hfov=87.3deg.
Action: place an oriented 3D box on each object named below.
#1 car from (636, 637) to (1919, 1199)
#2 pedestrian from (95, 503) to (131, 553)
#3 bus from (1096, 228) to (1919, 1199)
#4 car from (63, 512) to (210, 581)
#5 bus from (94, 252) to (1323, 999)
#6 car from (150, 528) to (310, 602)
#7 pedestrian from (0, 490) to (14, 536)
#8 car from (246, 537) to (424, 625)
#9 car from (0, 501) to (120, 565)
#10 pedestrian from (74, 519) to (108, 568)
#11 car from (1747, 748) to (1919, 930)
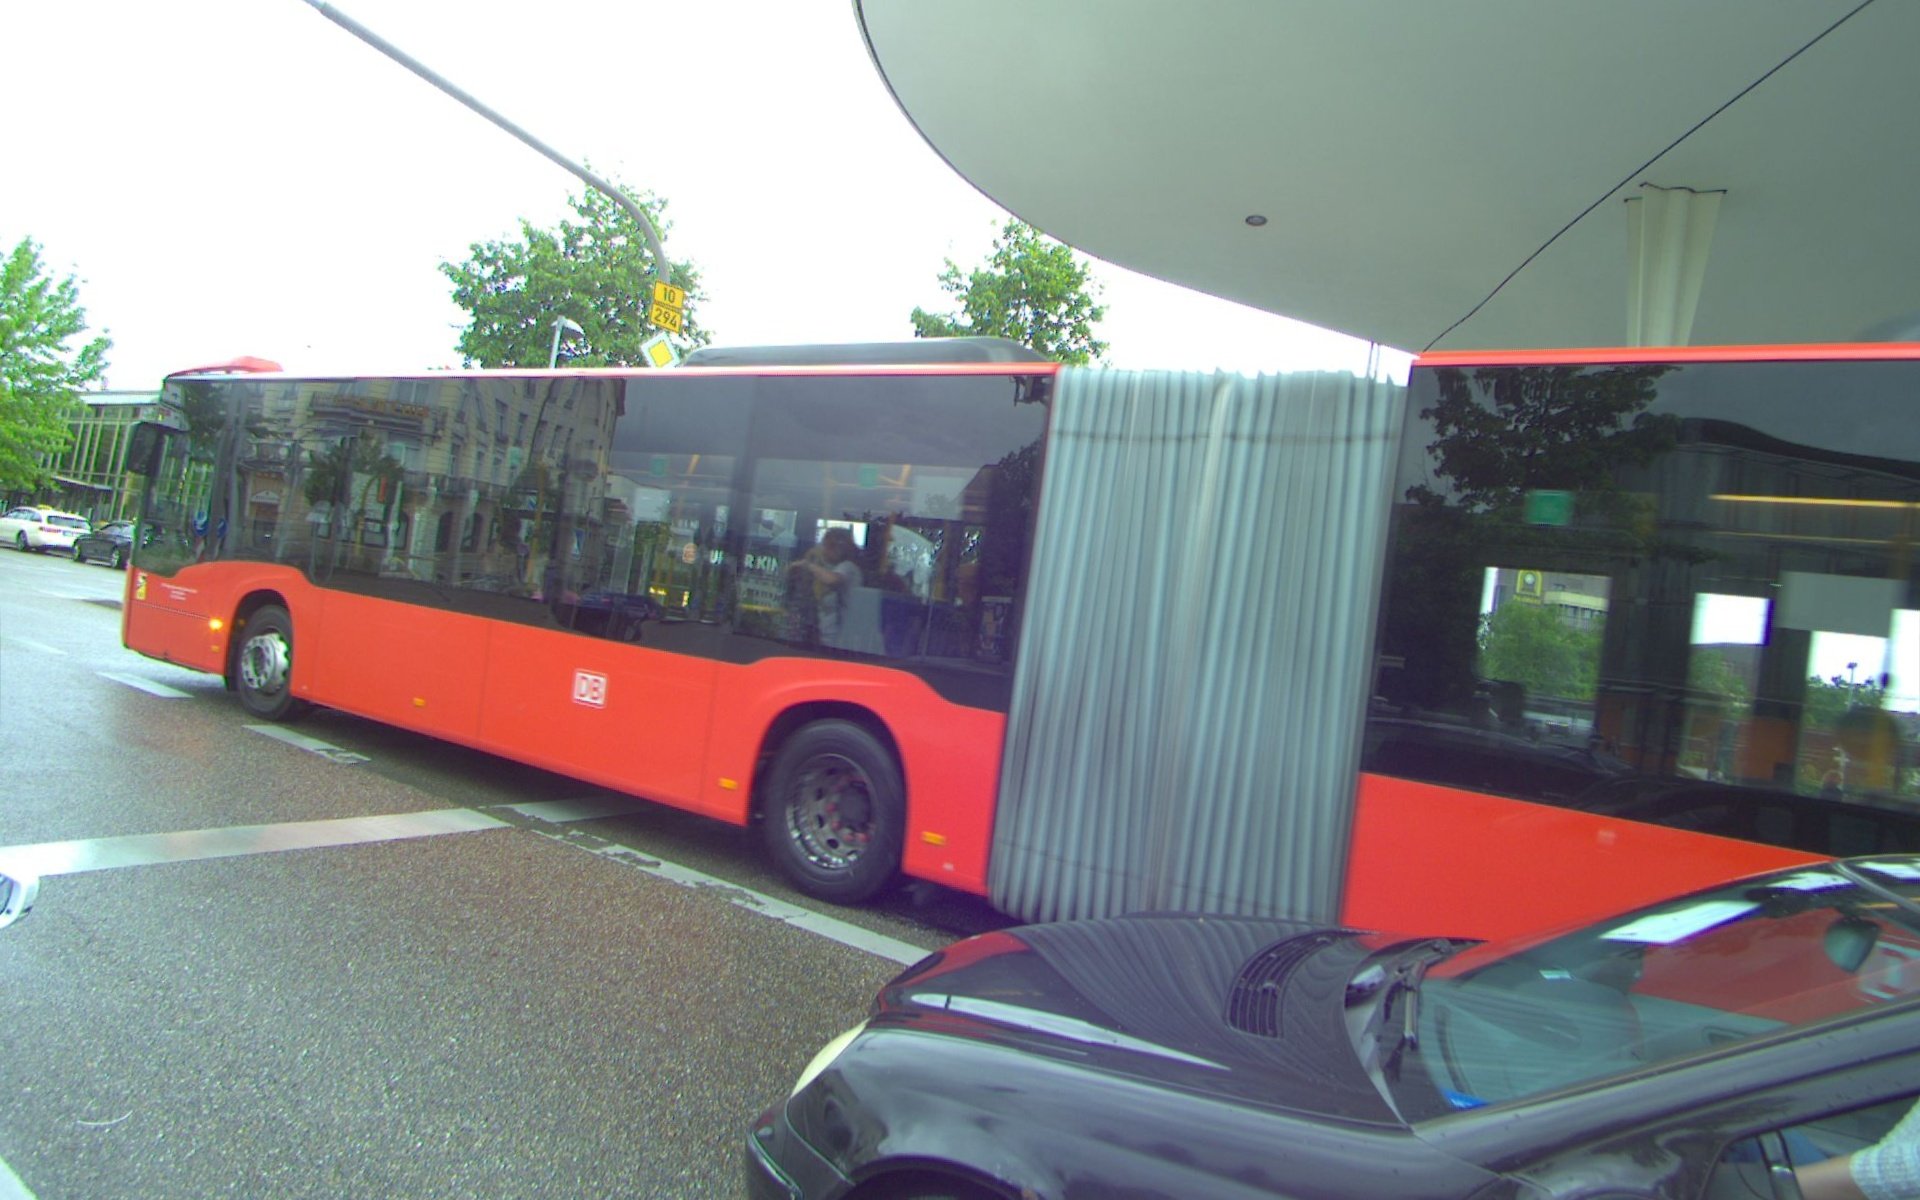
[{"bbox_3d":[1.724,1.126,1.491,4.362,1.494,1.753,5,-7,32],"label":"car"},{"bbox_3d":[-37.151,-3.171,44.125,0.814,2.037,0.771,7,-1,30],"label":"pedestrian"},{"bbox_3d":[4.887,0.722,3.551,7.982,3.210,2.750,7,-2,30],"label":"bus"},{"bbox_3d":[-25.831,-1.693,31.519,4.662,1.542,1.918,7,-2,30],"label":"car"},{"bbox_3d":[-2.758,-0.263,7.974,10.021,3.210,2.750,7,-2,30],"label":"bus"},{"bbox_3d":[-20.624,-0.998,28.377,4.588,1.468,1.851,7,-2,30],"label":"car"},{"bbox_3d":[-52.665,-4.809,55.071,0.848,2.439,0.844,7,-1,34],"label":"pedestrian"},{"bbox_3d":[-15.846,-0.502,25.450,4.538,1.608,1.779,7,-2,30],"label":"car"},{"bbox_3d":[-31.426,-2.368,34.530,4.736,1.618,2.000,7,-2,25],"label":"car"},{"bbox_3d":[-33.018,-2.155,38.236,0.703,1.729,0.566,7,-2,27],"label":"pedestrian"},{"bbox_3d":[11.240,2.792,10.558,4.360,1.665,1.807,7,-5,32],"label":"car"}]
